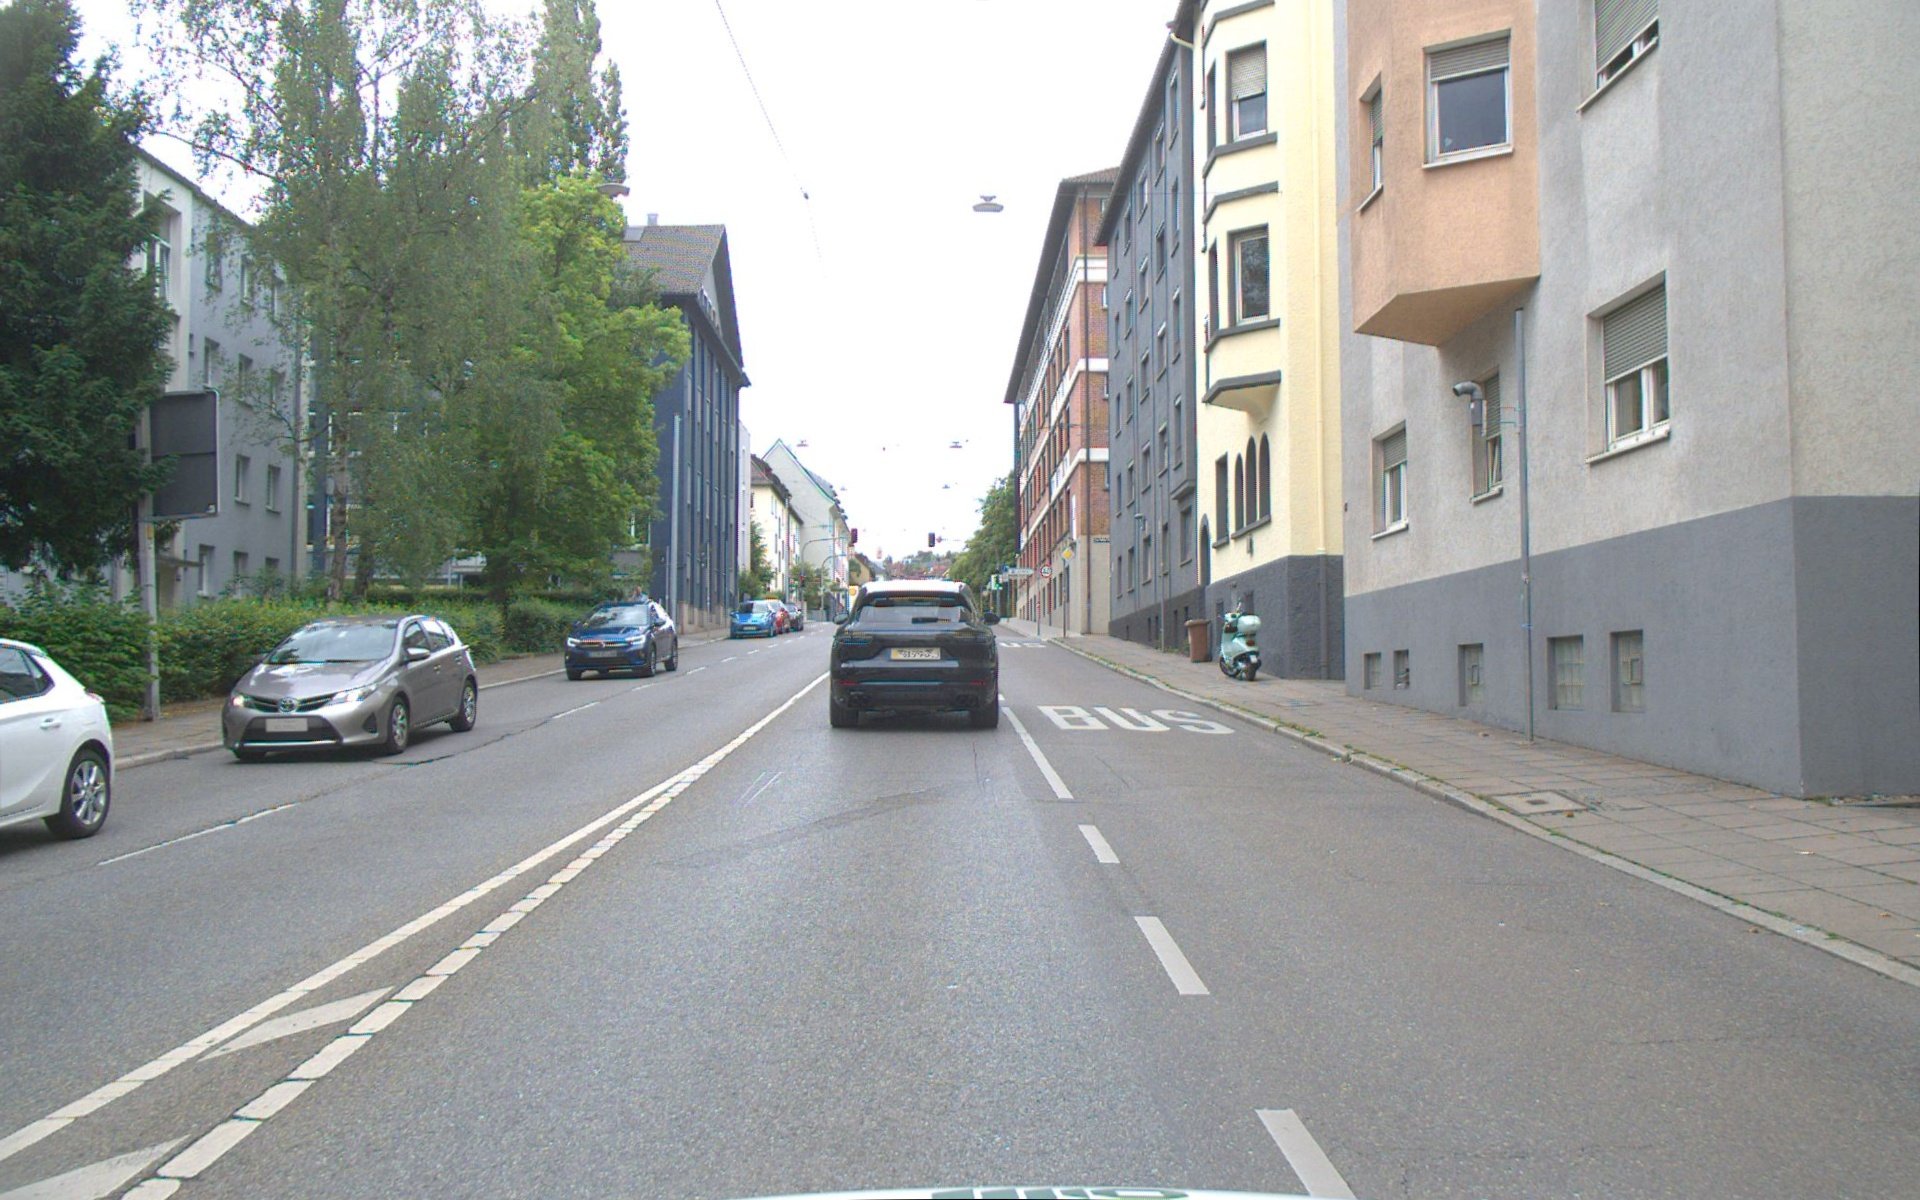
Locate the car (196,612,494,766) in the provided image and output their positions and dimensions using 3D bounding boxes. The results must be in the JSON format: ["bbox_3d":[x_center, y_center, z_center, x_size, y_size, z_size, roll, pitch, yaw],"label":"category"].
[{"bbox_3d":[-6.819,0.911,18.866,1.802,1.473,4.310,-2,0,-1],"label":"car"}]

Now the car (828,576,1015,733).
[{"bbox_3d":[-0.587,0.609,20.228,1.984,1.670,4.351,1,0,-5],"label":"car"}]

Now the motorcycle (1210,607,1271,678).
[{"bbox_3d":[5.023,0.741,29.694,0.527,1.176,2.225,-3,0,-4],"label":"motorcycle"}]

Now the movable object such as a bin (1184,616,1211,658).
[{"bbox_3d":[5.249,0.815,36.621,0.465,0.907,0.516,-3,0,-2],"label":"movable object such as a bin"}]

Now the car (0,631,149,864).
[{"bbox_3d":[-6.993,0.995,10.303,1.801,1.437,4.074,-3,0,0],"label":"car"}]

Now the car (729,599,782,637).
[{"bbox_3d":[-8.301,0.711,67.353,1.679,1.448,3.988,-2,0,-1],"label":"car"}]

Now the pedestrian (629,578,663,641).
[{"bbox_3d":[-10.050,0.306,52.890,0.864,1.984,0.867,2,0,-2],"label":"pedestrian"}]

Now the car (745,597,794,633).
[{"bbox_3d":[-8.433,0.639,73.474,1.679,1.482,3.989,-2,0,0],"label":"car"}]

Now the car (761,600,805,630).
[{"bbox_3d":[-8.454,0.707,79.179,1.679,1.364,3.903,-2,0,-1],"label":"car"}]

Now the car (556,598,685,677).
[{"bbox_3d":[-6.957,0.733,34.324,1.802,1.473,4.310,-2,0,-1],"label":"car"}]
